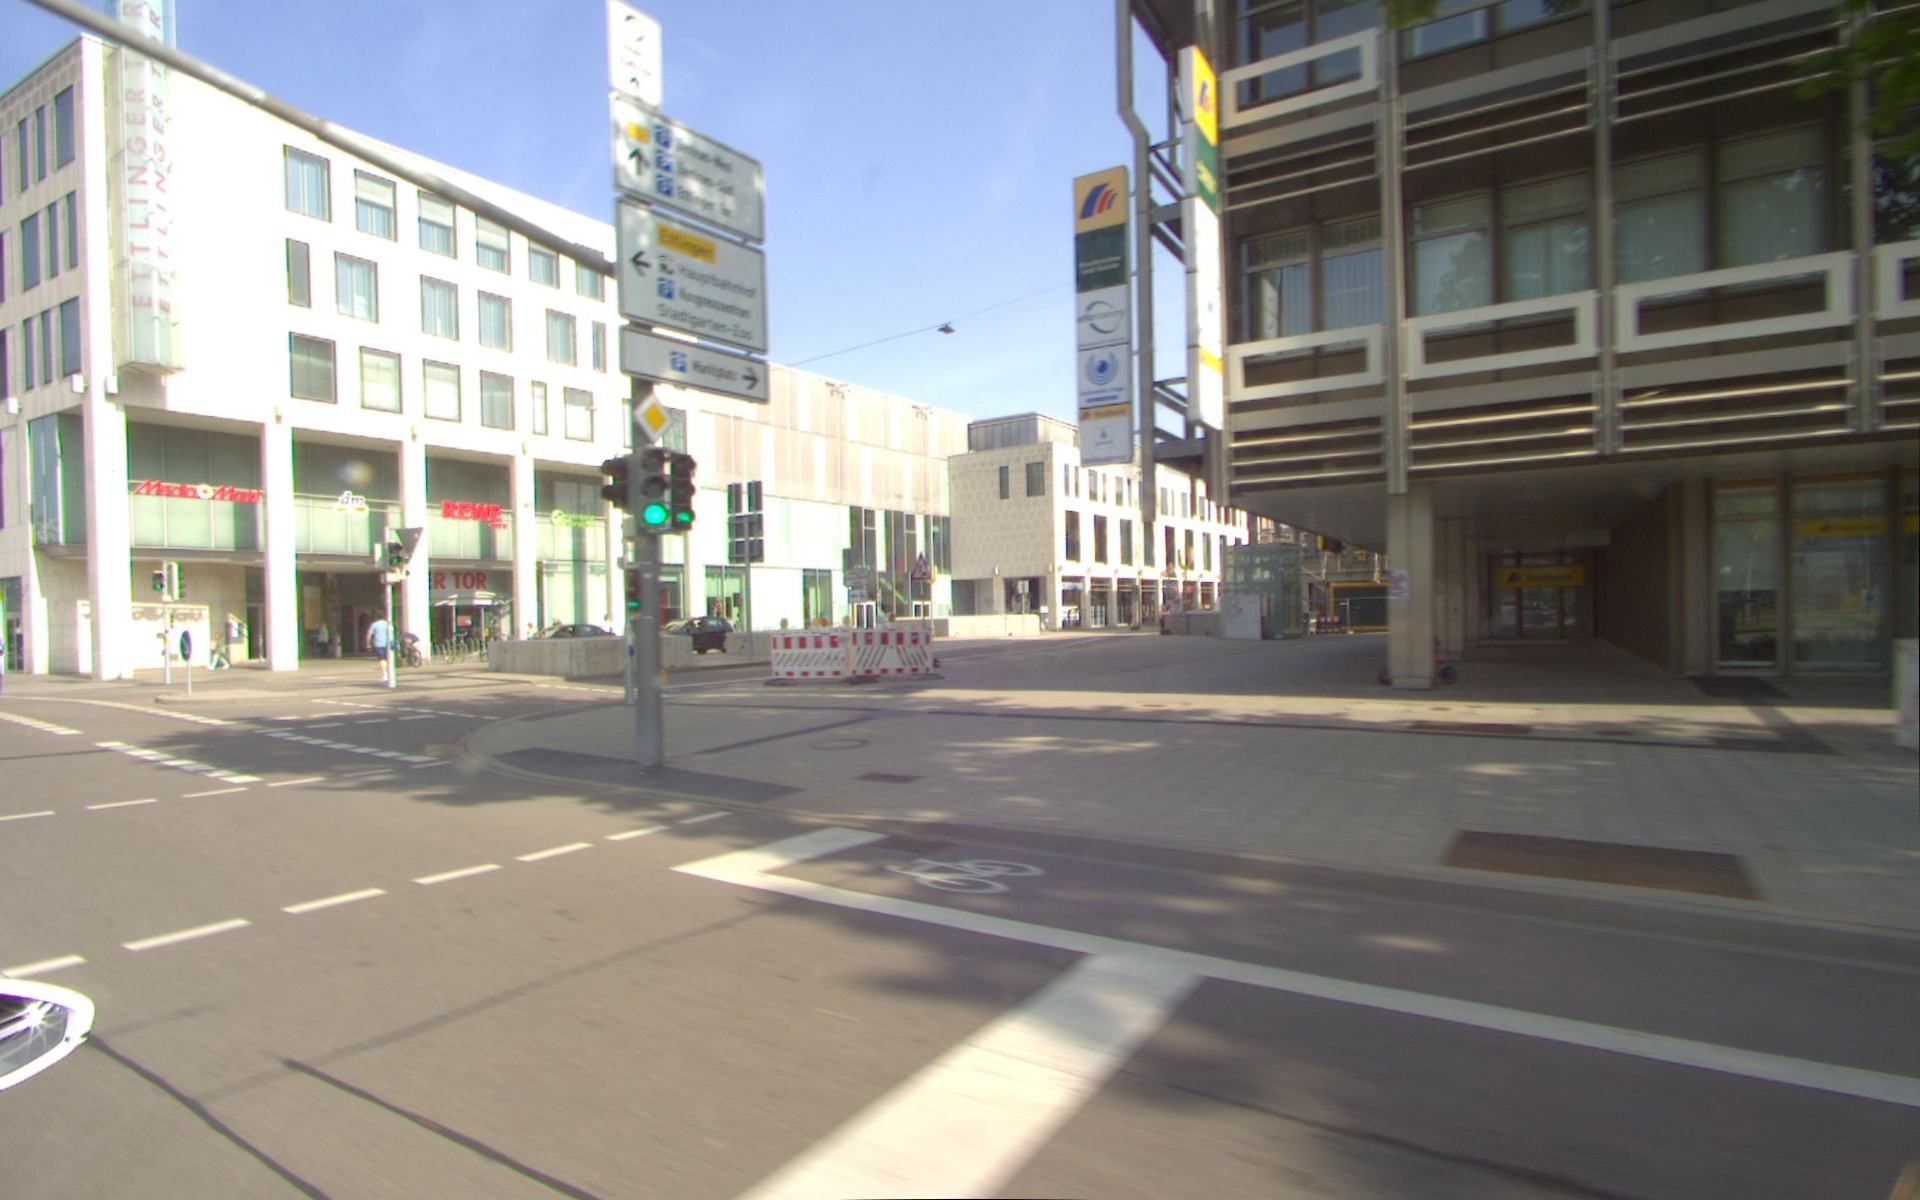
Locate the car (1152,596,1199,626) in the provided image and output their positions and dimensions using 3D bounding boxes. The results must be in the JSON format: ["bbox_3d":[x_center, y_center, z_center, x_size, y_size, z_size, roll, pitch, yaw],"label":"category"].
[{"bbox_3d":[18.593,1.020,86.262,2.392,2.440,4.983,-2,-2,33],"label":"car"}]

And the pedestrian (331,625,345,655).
[{"bbox_3d":[-28.993,1.867,46.671,0.449,1.359,0.391,-1,0,31],"label":"pedestrian"}]

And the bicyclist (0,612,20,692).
[{"bbox_3d":[-21.582,1.169,22.384,0.758,1.772,0.649,-1,0,33],"label":"bicyclist"}]

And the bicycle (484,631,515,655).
[{"bbox_3d":[-19.632,1.831,42.713,1.834,0.969,0.456,-1,0,40],"label":"bicycle"}]

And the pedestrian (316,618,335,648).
[{"bbox_3d":[-29.909,1.554,47.227,0.485,1.402,0.563,-1,0,25],"label":"pedestrian"}]

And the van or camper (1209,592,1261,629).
[{"bbox_3d":[19.100,0.714,69.381,1.972,2.441,5.115,-1,0,33],"label":"van or camper"}]

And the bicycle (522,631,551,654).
[{"bbox_3d":[-18.248,1.839,43.129,1.650,0.969,0.456,-1,0,40],"label":"bicycle"}]

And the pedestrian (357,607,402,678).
[{"bbox_3d":[-14.599,1.063,25.176,0.977,1.734,0.640,-1,0,39],"label":"pedestrian"}]

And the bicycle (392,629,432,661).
[{"bbox_3d":[-21.263,1.748,38.836,1.766,1.215,0.499,-1,0,30],"label":"bicycle"}]

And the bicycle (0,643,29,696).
[{"bbox_3d":[-21.621,1.547,22.414,2.022,1.132,0.659,-1,0,33],"label":"bicycle"}]

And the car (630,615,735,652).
[{"bbox_3d":[-11.381,1.340,41.248,1.854,1.421,3.889,-1,-1,35],"label":"car"}]

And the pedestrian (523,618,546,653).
[{"bbox_3d":[-18.757,1.557,44.162,0.724,1.505,0.602,-1,0,0],"label":"pedestrian"}]

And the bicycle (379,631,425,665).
[{"bbox_3d":[-21.186,1.811,37.991,2.041,1.253,0.612,-1,0,33],"label":"bicycle"}]

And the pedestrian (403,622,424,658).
[{"bbox_3d":[-21.399,1.569,39.218,0.539,1.374,0.511,-1,0,24],"label":"pedestrian"}]

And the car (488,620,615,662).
[{"bbox_3d":[-14.671,1.459,36.132,1.852,1.384,3.881,-2,-1,35],"label":"car"}]

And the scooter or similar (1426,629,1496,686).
[{"bbox_3d":[7.767,0.879,15.541,0.945,0.854,0.278,-1,0,31],"label":"scooter or similar"}]

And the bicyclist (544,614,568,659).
[{"bbox_3d":[-15.985,1.434,39.653,0.574,1.761,0.633,-1,0,31],"label":"bicyclist"}]

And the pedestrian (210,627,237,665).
[{"bbox_3d":[-29.340,1.825,39.887,0.596,1.507,0.706,-1,0,33],"label":"pedestrian"}]
